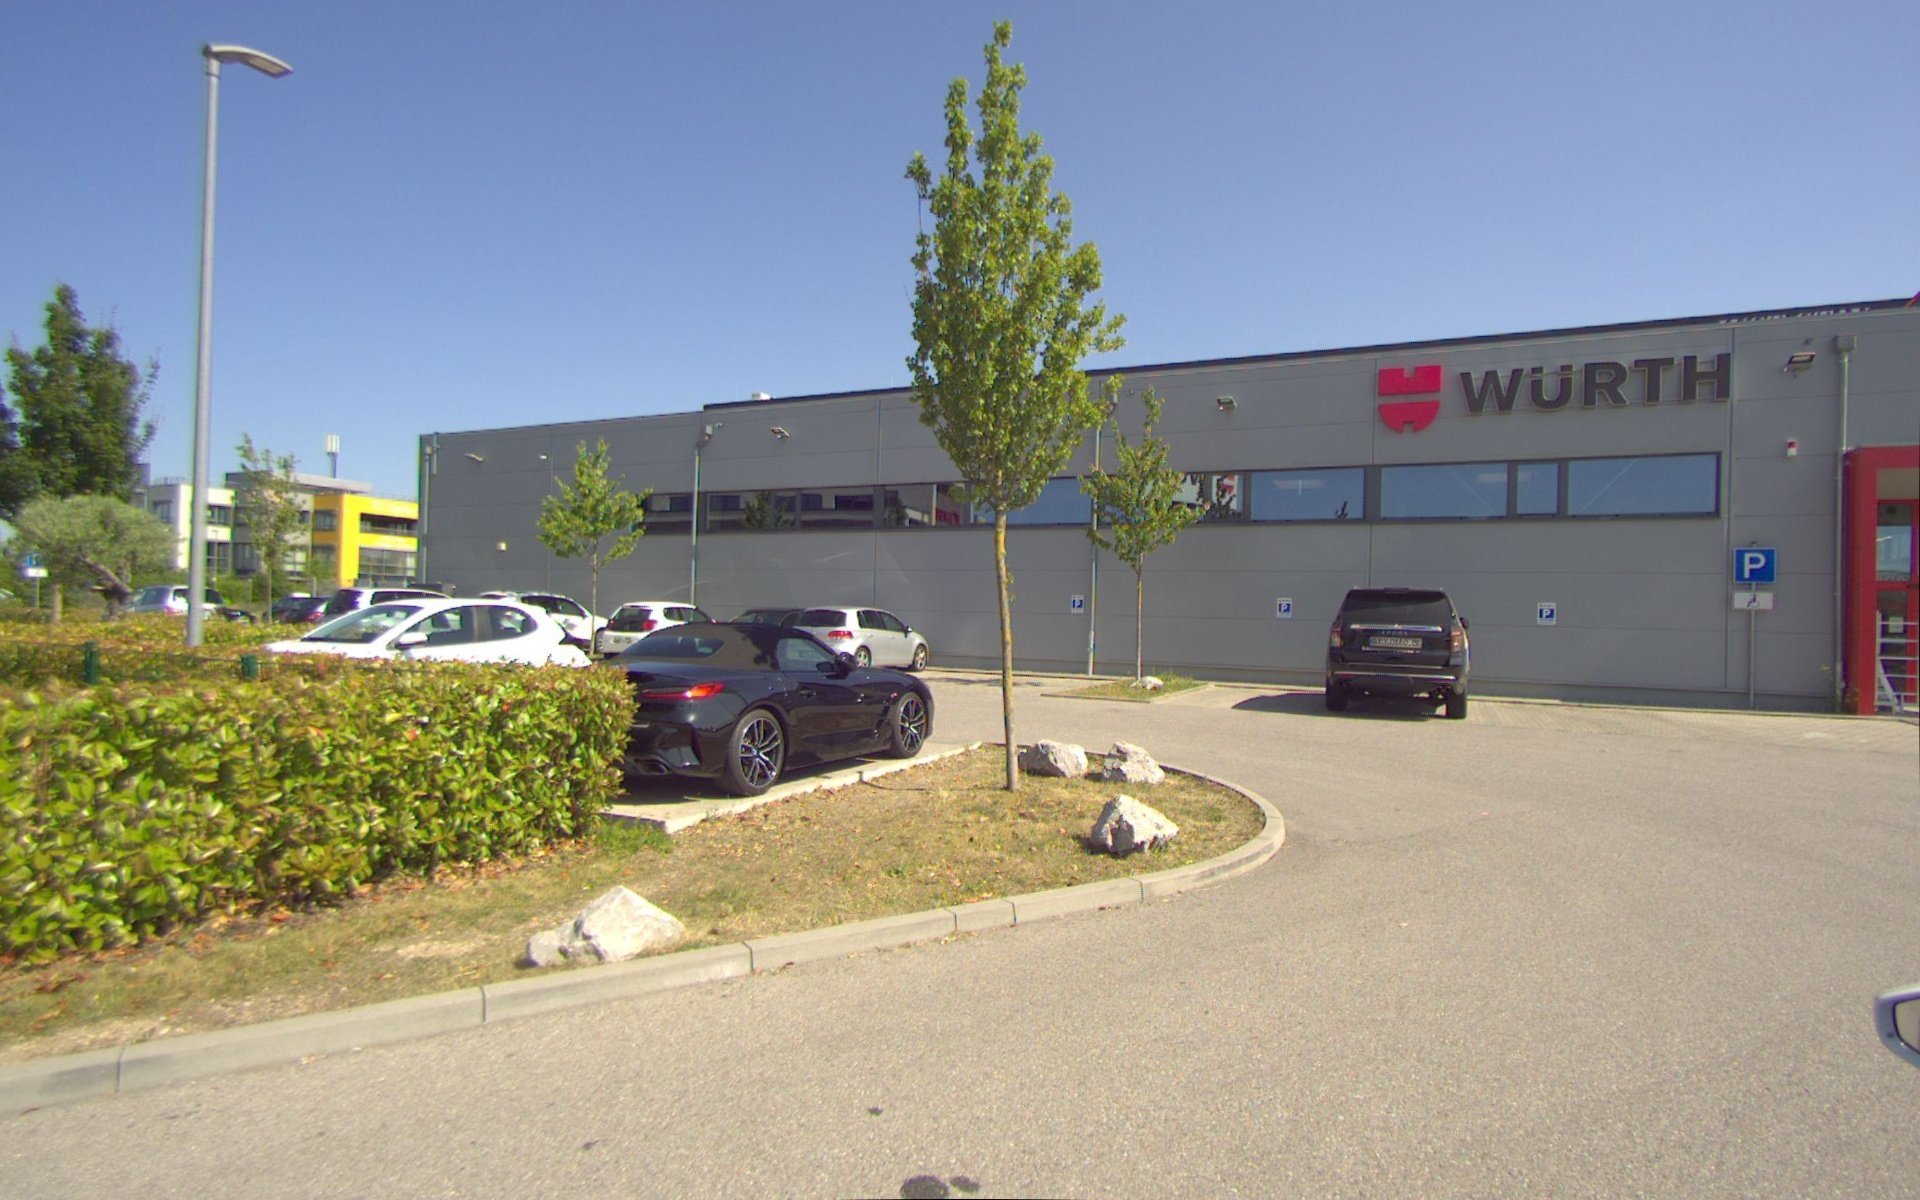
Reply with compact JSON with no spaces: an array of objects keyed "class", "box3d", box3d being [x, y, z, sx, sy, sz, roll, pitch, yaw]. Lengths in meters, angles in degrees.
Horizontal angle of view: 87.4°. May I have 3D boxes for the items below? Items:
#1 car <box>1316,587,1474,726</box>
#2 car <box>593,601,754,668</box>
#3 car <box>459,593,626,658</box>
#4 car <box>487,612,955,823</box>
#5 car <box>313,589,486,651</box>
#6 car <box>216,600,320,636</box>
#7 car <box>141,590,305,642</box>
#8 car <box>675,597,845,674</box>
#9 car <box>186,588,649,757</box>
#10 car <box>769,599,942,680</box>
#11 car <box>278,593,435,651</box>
[{"class":"car","box3d":[7.155,0.812,16.518,2.038,1.905,4.876,1,0,24]},{"class":"car","box3d":[-7.034,0.810,25.039,1.704,1.507,3.948,1,0,24]},{"class":"car","box3d":[-11.080,0.663,26.921,1.705,1.588,3.946,1,0,28]},{"class":"car","box3d":[-1.785,0.817,9.091,1.833,1.380,4.373,1,0,24]},{"class":"car","box3d":[-15.652,0.540,28.250,1.705,1.588,3.946,1,0,27]},{"class":"car","box3d":[-32.362,0.841,47.082,1.615,1.588,3.677,1,0,29]},{"class":"car","box3d":[-23.774,0.510,32.540,1.705,1.588,3.946,1,0,27]},{"class":"car","box3d":[-4.563,0.786,23.560,1.849,1.607,4.106,1,0,24]},{"class":"car","box3d":[-5.934,0.690,11.605,1.918,1.551,4.369,1,0,29]},{"class":"car","box3d":[-2.219,0.825,22.642,1.917,1.607,4.373,1,0,24]},{"class":"car","box3d":[-17.797,0.635,29.764,1.615,1.588,3.677,1,0,29]}]
